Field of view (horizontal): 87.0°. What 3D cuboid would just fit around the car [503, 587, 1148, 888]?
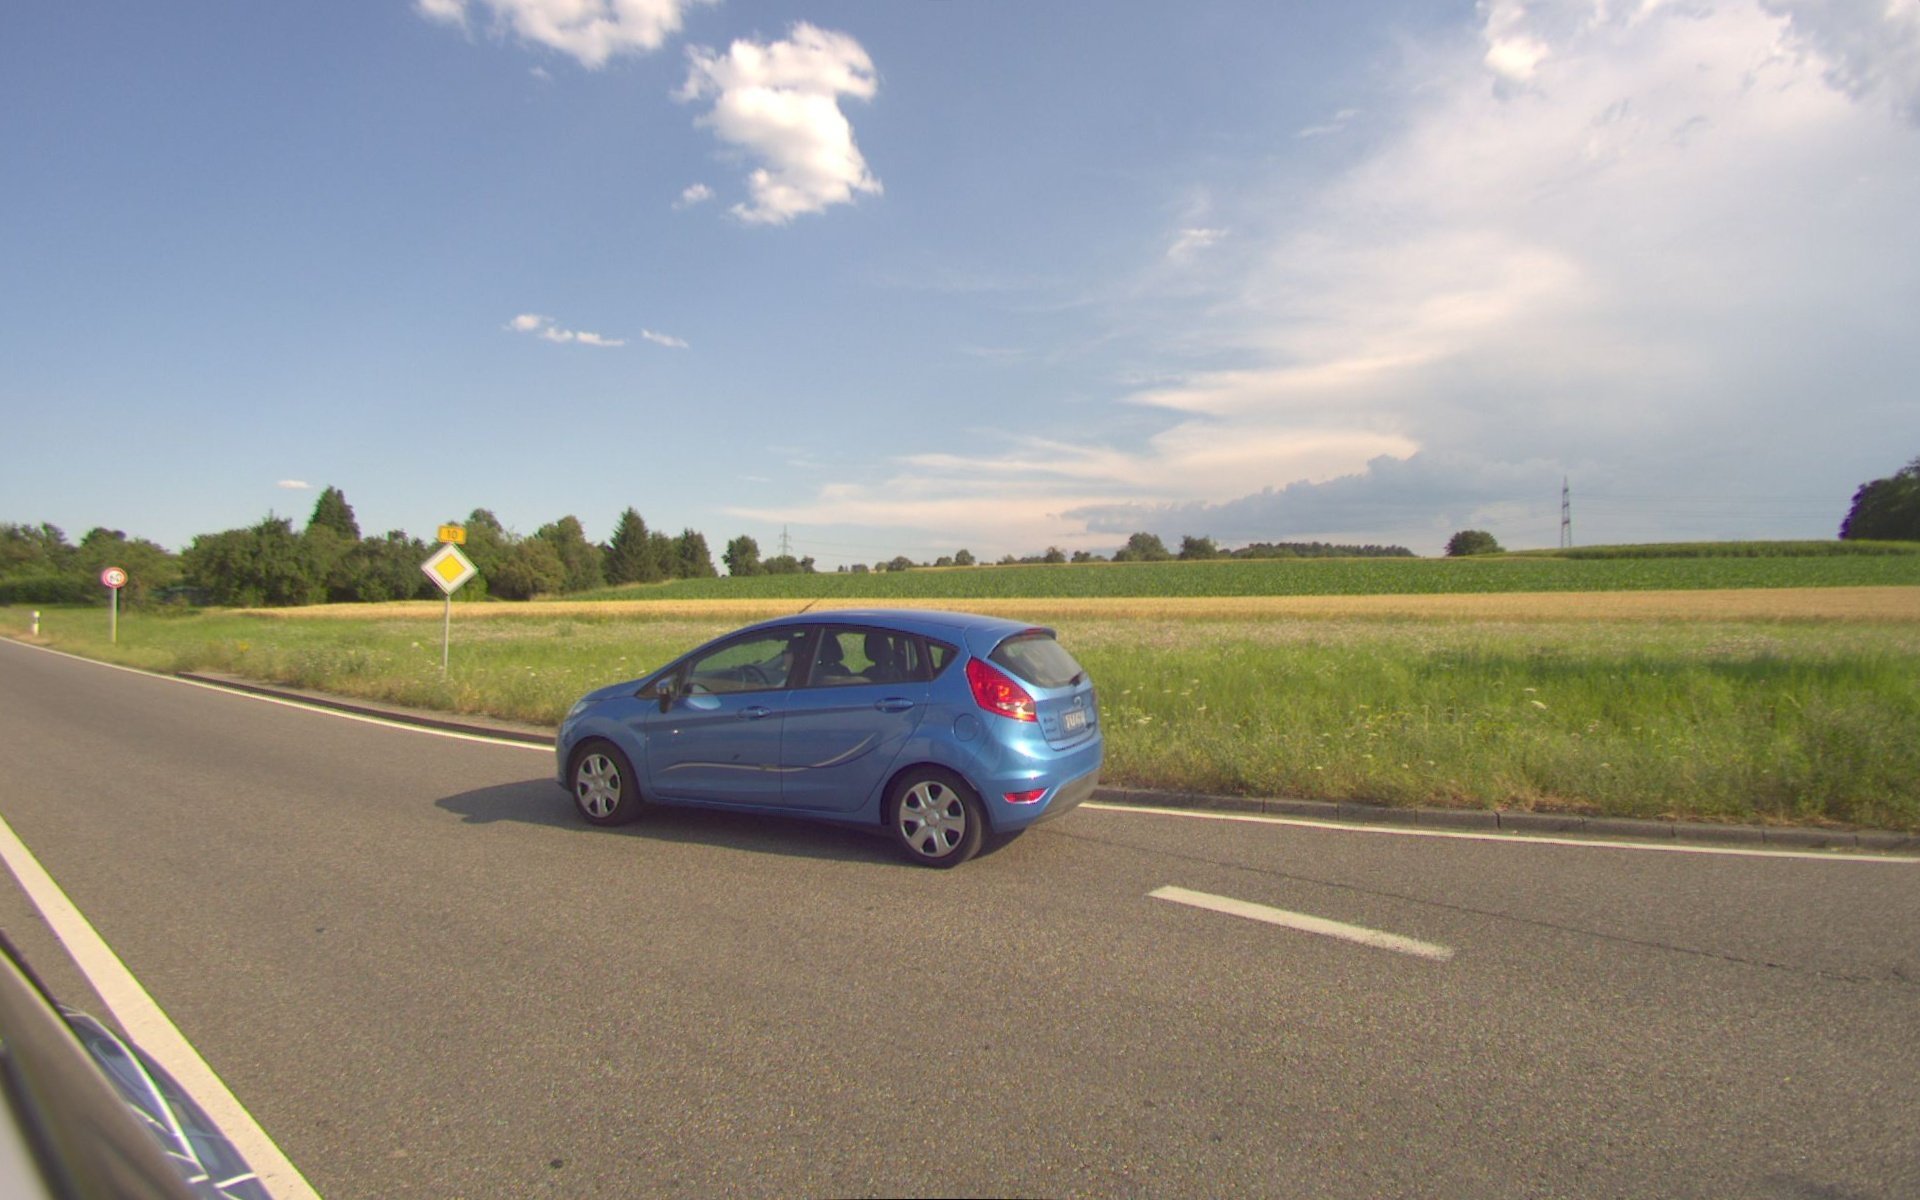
[{"bbox_3d":[-0.923,0.737,6.754,3.978,1.512,1.750,-1,-2,26],"label":"car"}]
